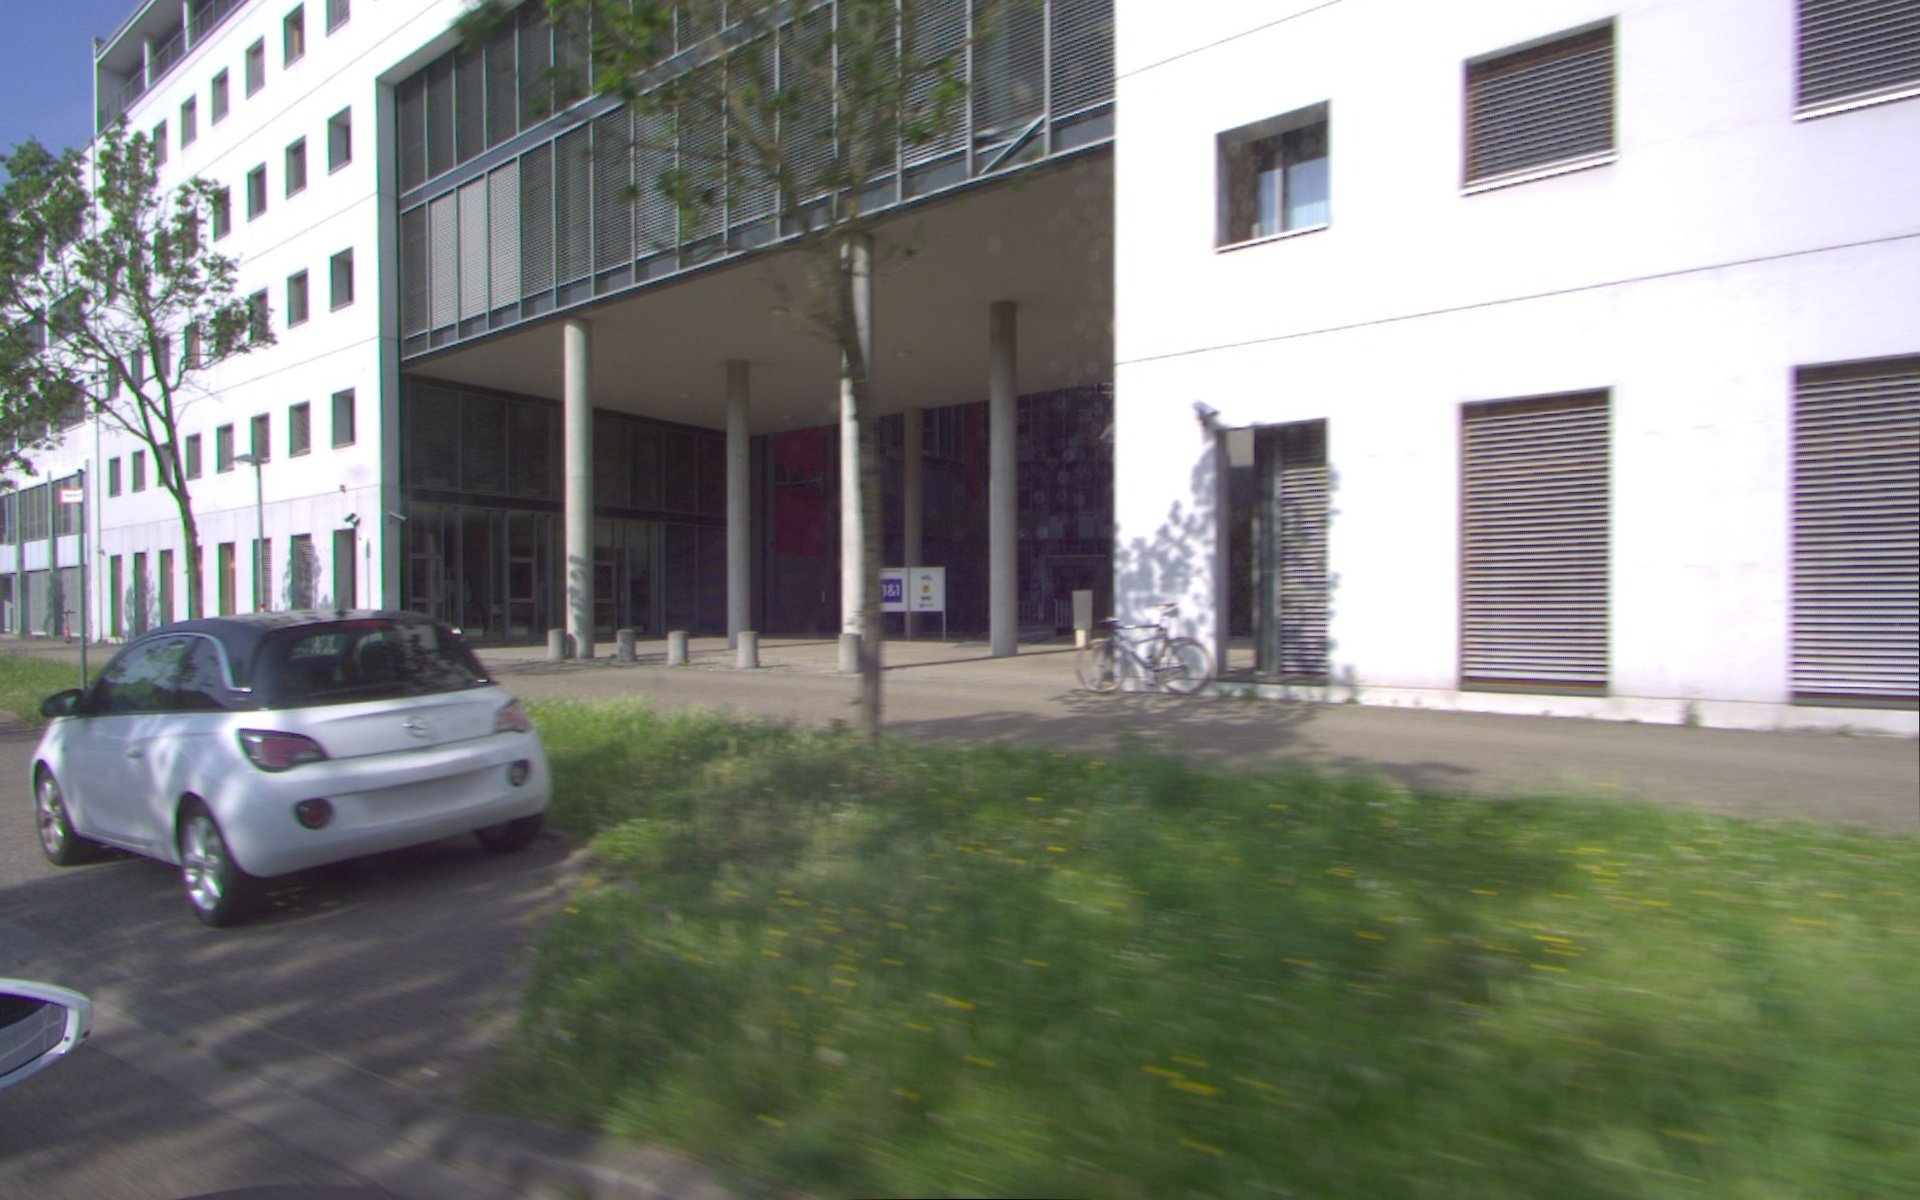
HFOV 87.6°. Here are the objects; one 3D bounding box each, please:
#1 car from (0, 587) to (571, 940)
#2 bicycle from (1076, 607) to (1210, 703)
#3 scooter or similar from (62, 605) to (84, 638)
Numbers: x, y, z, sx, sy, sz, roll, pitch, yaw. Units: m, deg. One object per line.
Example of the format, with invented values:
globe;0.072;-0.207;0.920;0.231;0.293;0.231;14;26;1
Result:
car;-4.249;0.717;6.144;3.730;1.539;1.715;0;0;35
bicycle;2.221;0.639;12.203;1.528;1.101;0.492;0;2;33
scooter or similar;-33.195;0.792;37.481;1.240;1.230;0.460;0;2;42
